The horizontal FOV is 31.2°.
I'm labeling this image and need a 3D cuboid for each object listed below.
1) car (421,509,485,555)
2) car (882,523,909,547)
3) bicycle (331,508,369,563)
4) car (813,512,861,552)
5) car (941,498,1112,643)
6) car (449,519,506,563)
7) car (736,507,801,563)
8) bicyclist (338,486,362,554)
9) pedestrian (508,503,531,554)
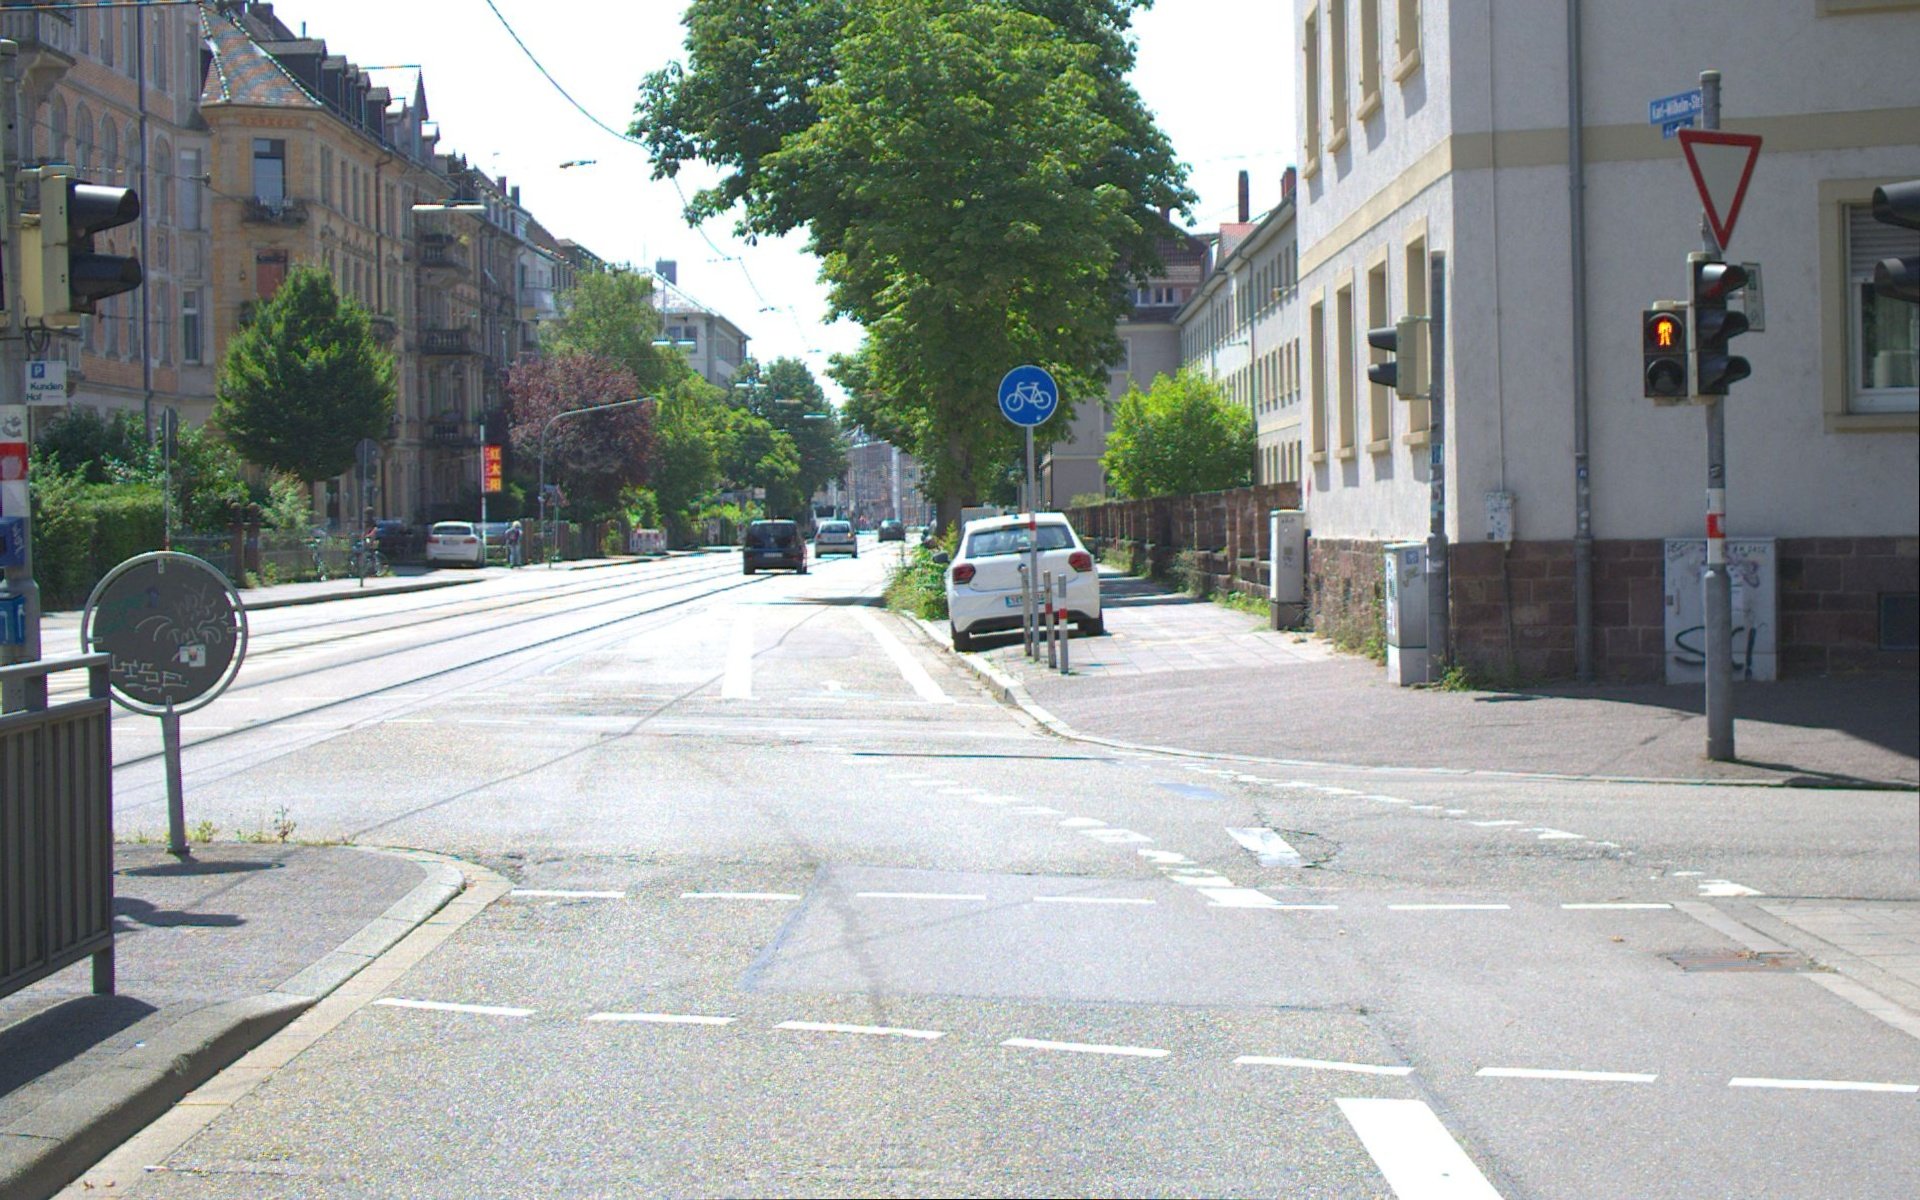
[{"bbox_3d":[-17.375,-2.325,117.921,1.684,1.467,3.939,-4,1,-3],"label":"car"},{"bbox_3d":[-4.272,-4.288,227.408,1.628,1.467,3.564,-4,1,-3],"label":"car"},{"bbox_3d":[-15.719,-1.665,88.644,0.577,1.383,2.501,0,1,-1],"label":"bicycle"},{"bbox_3d":[-4.892,-2.703,137.296,1.747,1.467,3.939,-4,1,-1],"label":"car"},{"bbox_3d":[0.721,-0.359,39.690,1.747,1.467,3.939,-4,1,-1],"label":"car"},{"bbox_3d":[-17.739,-2.170,126.464,1.628,1.467,3.564,-4,1,-3],"label":"car"},{"bbox_3d":[-5.170,-1.756,93.230,1.525,1.439,3.365,-2,1,0],"label":"car"},{"bbox_3d":[-15.718,-2.058,88.568,0.542,1.757,0.498,0,1,-1],"label":"bicyclist"},{"bbox_3d":[-14.909,-2.403,116.308,0.678,1.721,0.677,0,1,-1],"label":"pedestrian"}]
